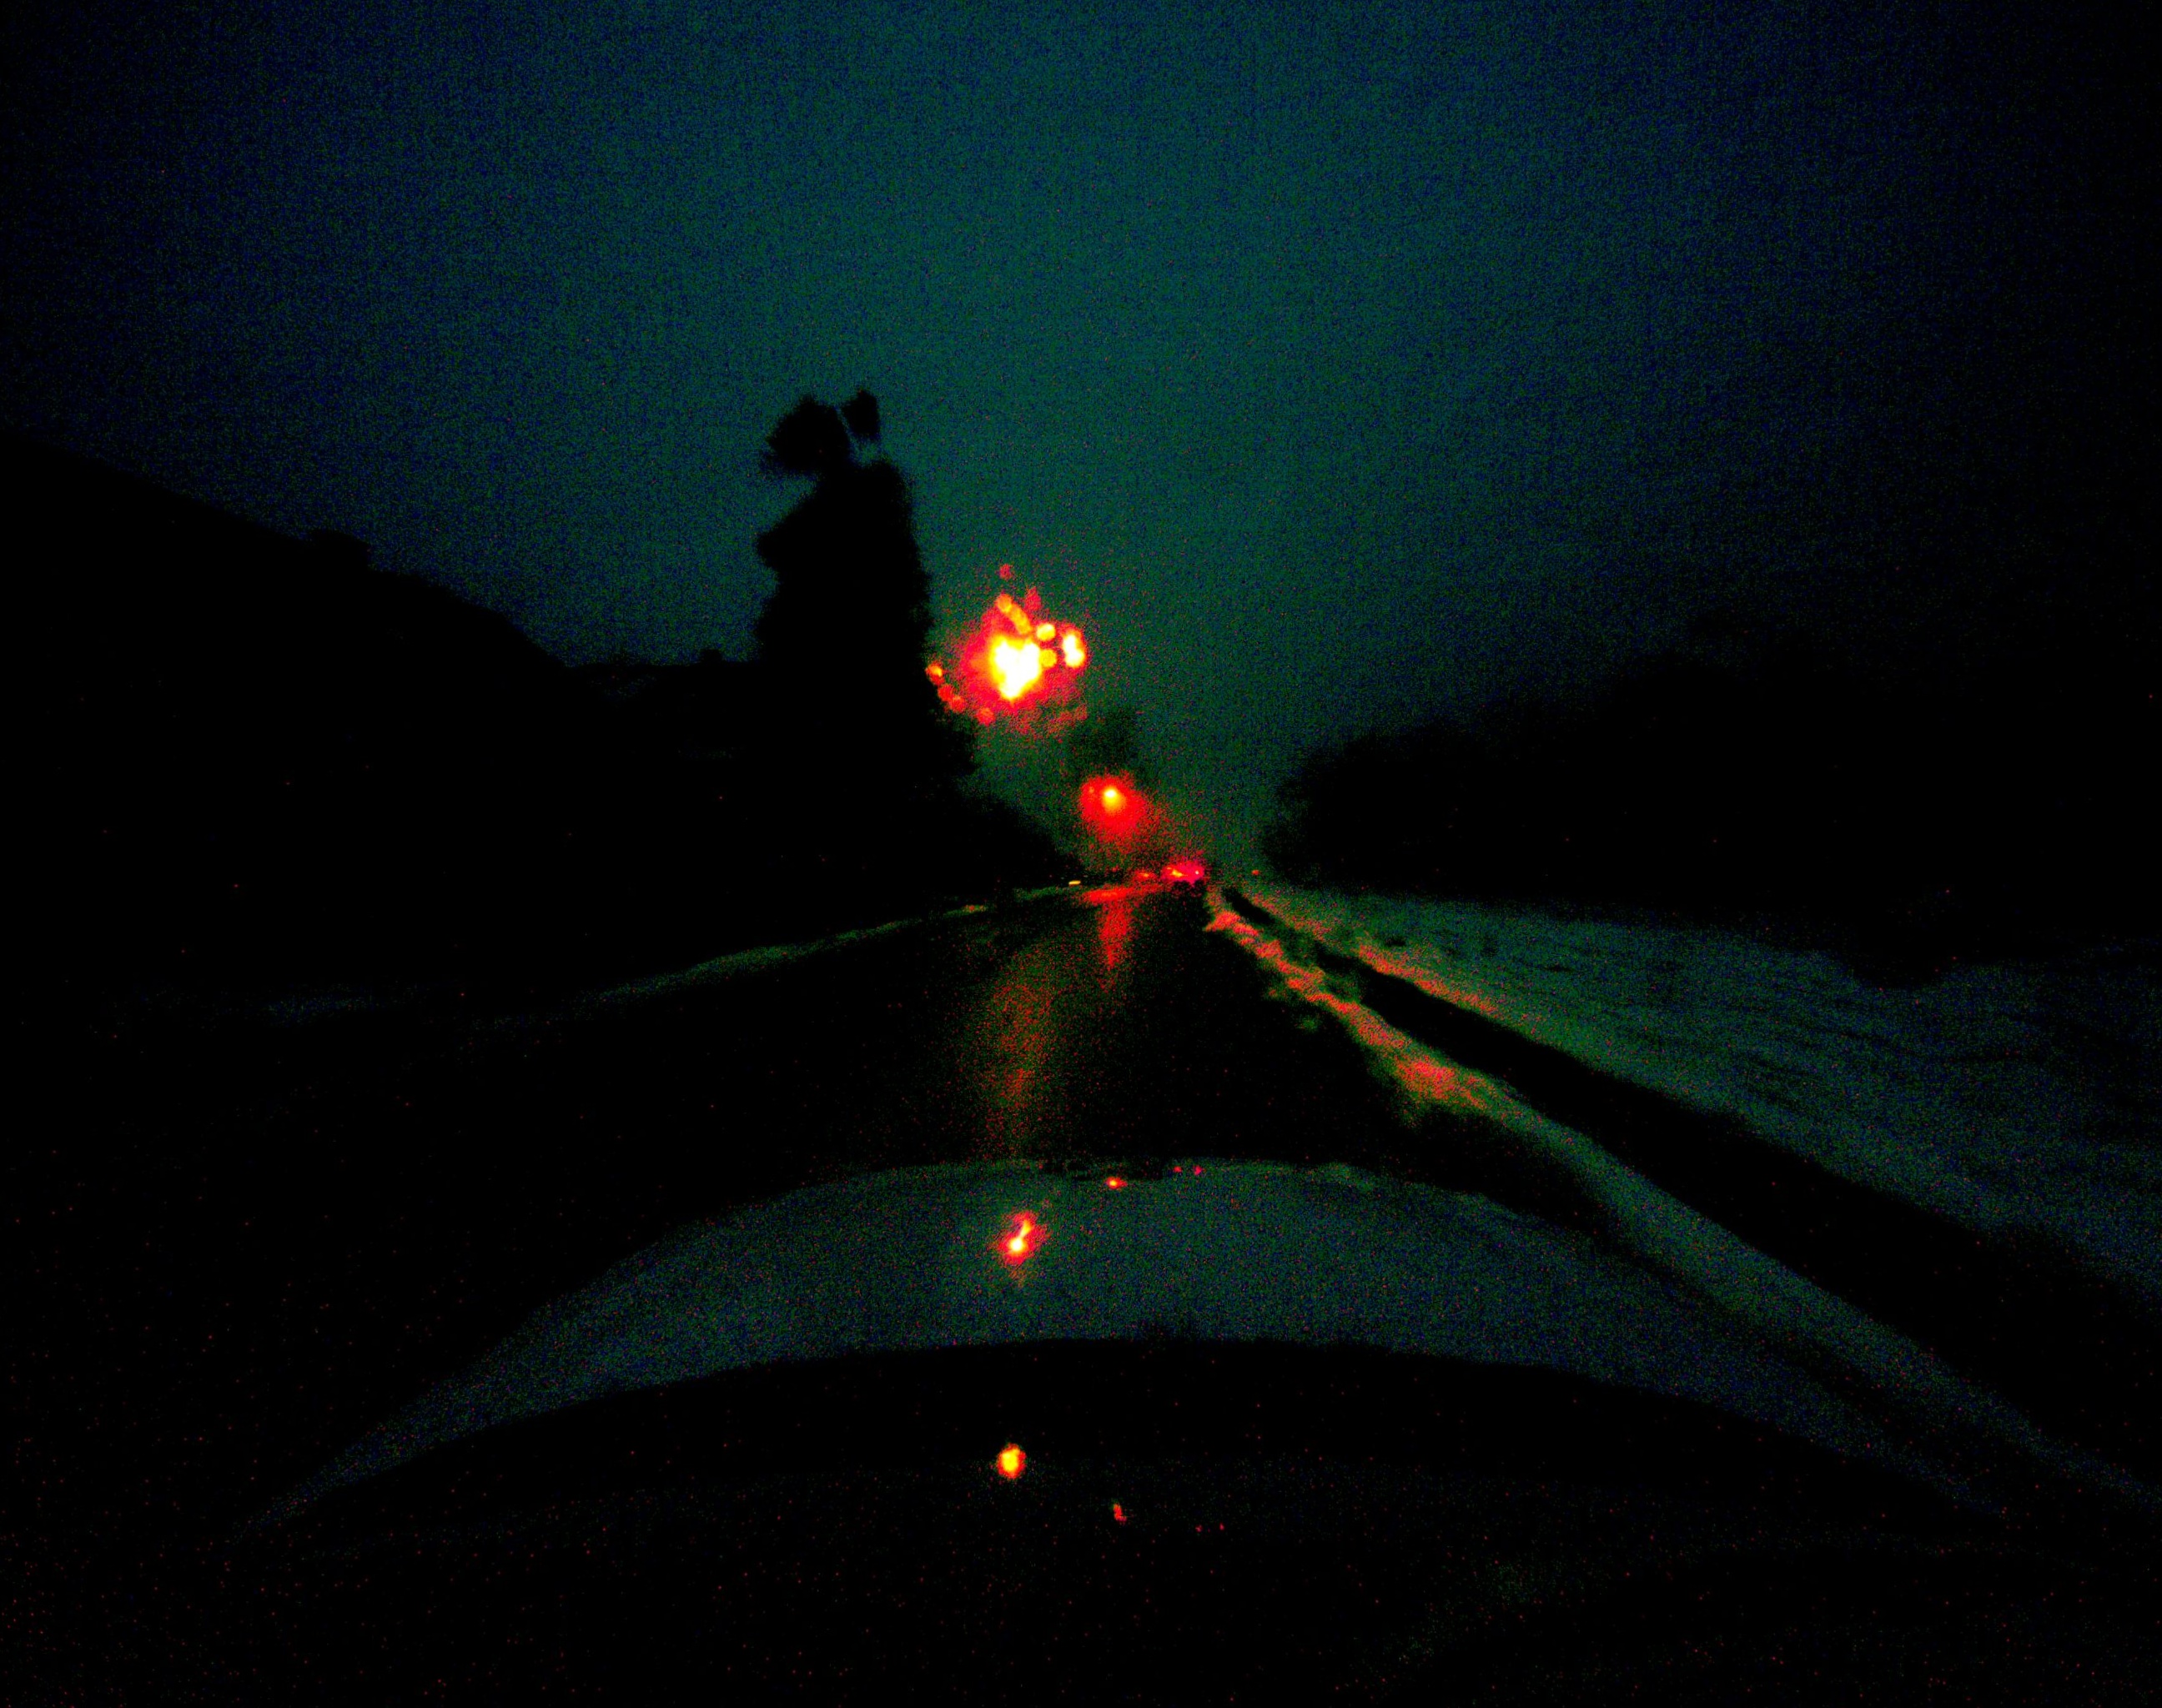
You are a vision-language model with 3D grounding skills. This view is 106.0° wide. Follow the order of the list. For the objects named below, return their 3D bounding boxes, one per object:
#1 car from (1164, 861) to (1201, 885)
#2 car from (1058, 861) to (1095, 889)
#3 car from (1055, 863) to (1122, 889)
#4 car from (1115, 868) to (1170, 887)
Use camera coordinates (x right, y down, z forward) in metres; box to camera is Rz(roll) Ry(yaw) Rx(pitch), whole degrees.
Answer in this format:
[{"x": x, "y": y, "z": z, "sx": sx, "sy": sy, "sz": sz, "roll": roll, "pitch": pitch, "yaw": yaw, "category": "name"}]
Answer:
[{"x": 6.464, "y": 1.168, "z": 51.541, "sx": 1.980, "sy": 1.420, "sz": 4.013, "roll": -1, "pitch": -1, "yaw": 12, "category": "car"}, {"x": -0.362, "y": 1.388, "z": 52.684, "sx": 1.990, "sy": 1.566, "sz": 4.989, "roll": -4, "pitch": -3, "yaw": -4, "category": "car"}, {"x": 0.590, "y": 1.565, "z": 58.394, "sx": 4.505, "sy": 1.566, "sz": 2.114, "roll": -3, "pitch": -2, "yaw": 5, "category": "car"}, {"x": 5.824, "y": 2.195, "z": 76.908, "sx": 4.852, "sy": 1.485, "sz": 2.131, "roll": -4, "pitch": -3, "yaw": 13, "category": "car"}]
